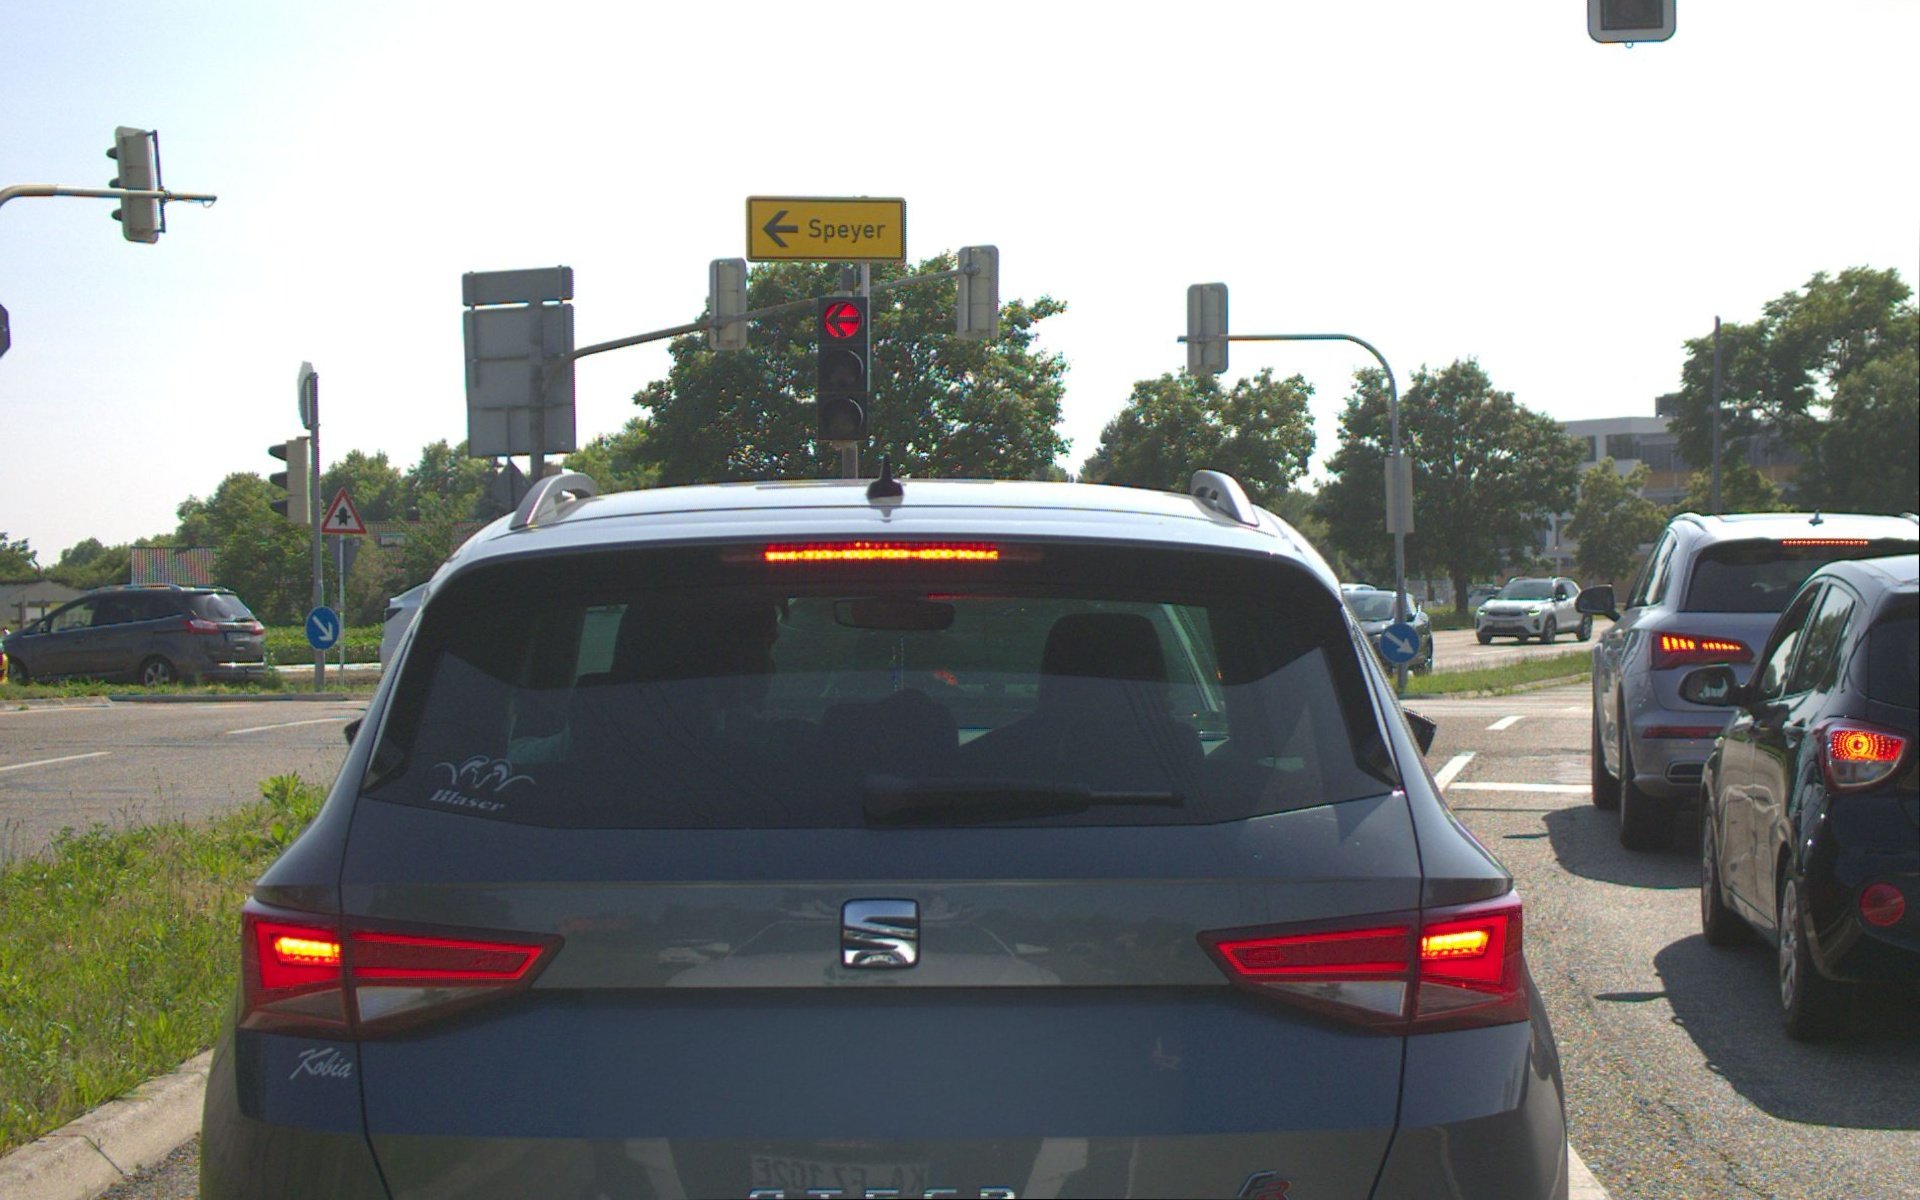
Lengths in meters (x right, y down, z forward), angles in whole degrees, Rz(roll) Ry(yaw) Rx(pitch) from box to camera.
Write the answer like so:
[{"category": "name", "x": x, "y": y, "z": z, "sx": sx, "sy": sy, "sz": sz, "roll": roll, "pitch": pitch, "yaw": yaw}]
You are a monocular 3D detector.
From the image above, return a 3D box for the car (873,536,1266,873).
[{"category": "car", "x": 0.638, "y": 0.452, "z": 17.265, "sx": 1.742, "sy": 1.479, "sz": 3.623, "roll": 1, "pitch": 0, "yaw": 5}]

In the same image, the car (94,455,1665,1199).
[{"category": "car", "x": -0.116, "y": 0.620, "z": 5.658, "sx": 1.742, "sy": 1.563, "sz": 3.624, "roll": 1, "pitch": 0, "yaw": -1}]

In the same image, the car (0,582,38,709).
[{"category": "car", "x": -14.377, "y": 0.612, "z": 45.554, "sx": 3.993, "sy": 1.645, "sz": 1.817, "roll": 0, "pitch": 0, "yaw": 28}]

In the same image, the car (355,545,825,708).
[{"category": "car", "x": -3.958, "y": 0.266, "z": 36.593, "sx": 4.753, "sy": 1.645, "sz": 1.817, "roll": 0, "pitch": 1, "yaw": 28}]

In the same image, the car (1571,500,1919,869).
[{"category": "car", "x": 4.084, "y": 0.366, "z": 17.561, "sx": 1.633, "sy": 1.671, "sz": 3.749, "roll": 1, "pitch": 1, "yaw": 6}]

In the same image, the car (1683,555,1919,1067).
[{"category": "car", "x": 3.384, "y": 0.585, "z": 11.334, "sx": 1.633, "sy": 1.443, "sz": 3.294, "roll": 1, "pitch": 1, "yaw": 6}]

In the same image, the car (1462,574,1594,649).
[{"category": "car", "x": 13.351, "y": 0.260, "z": 80.670, "sx": 1.880, "sy": 1.667, "sz": 3.764, "roll": 1, "pitch": 1, "yaw": 28}]

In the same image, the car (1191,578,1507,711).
[{"category": "car", "x": 4.776, "y": 0.523, "z": 42.292, "sx": 3.539, "sy": 1.511, "sz": 1.460, "roll": 1, "pitch": 1, "yaw": 28}]

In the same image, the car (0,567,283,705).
[{"category": "car", "x": -12.035, "y": 0.502, "z": 50.392, "sx": 4.014, "sy": 1.946, "sz": 1.693, "roll": 0, "pitch": 0, "yaw": 30}]

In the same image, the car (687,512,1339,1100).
[{"category": "car", "x": 0.154, "y": 0.543, "z": 11.144, "sx": 1.742, "sy": 1.563, "sz": 3.624, "roll": 1, "pitch": 0, "yaw": 0}]

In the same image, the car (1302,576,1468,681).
[{"category": "car", "x": 7.207, "y": 0.452, "z": 58.031, "sx": 1.879, "sy": 1.667, "sz": 3.766, "roll": 1, "pitch": 1, "yaw": 21}]

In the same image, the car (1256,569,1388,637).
[{"category": "car", "x": 8.417, "y": 0.070, "z": 79.697, "sx": 1.720, "sy": 1.492, "sz": 3.764, "roll": 1, "pitch": 1, "yaw": 28}]
